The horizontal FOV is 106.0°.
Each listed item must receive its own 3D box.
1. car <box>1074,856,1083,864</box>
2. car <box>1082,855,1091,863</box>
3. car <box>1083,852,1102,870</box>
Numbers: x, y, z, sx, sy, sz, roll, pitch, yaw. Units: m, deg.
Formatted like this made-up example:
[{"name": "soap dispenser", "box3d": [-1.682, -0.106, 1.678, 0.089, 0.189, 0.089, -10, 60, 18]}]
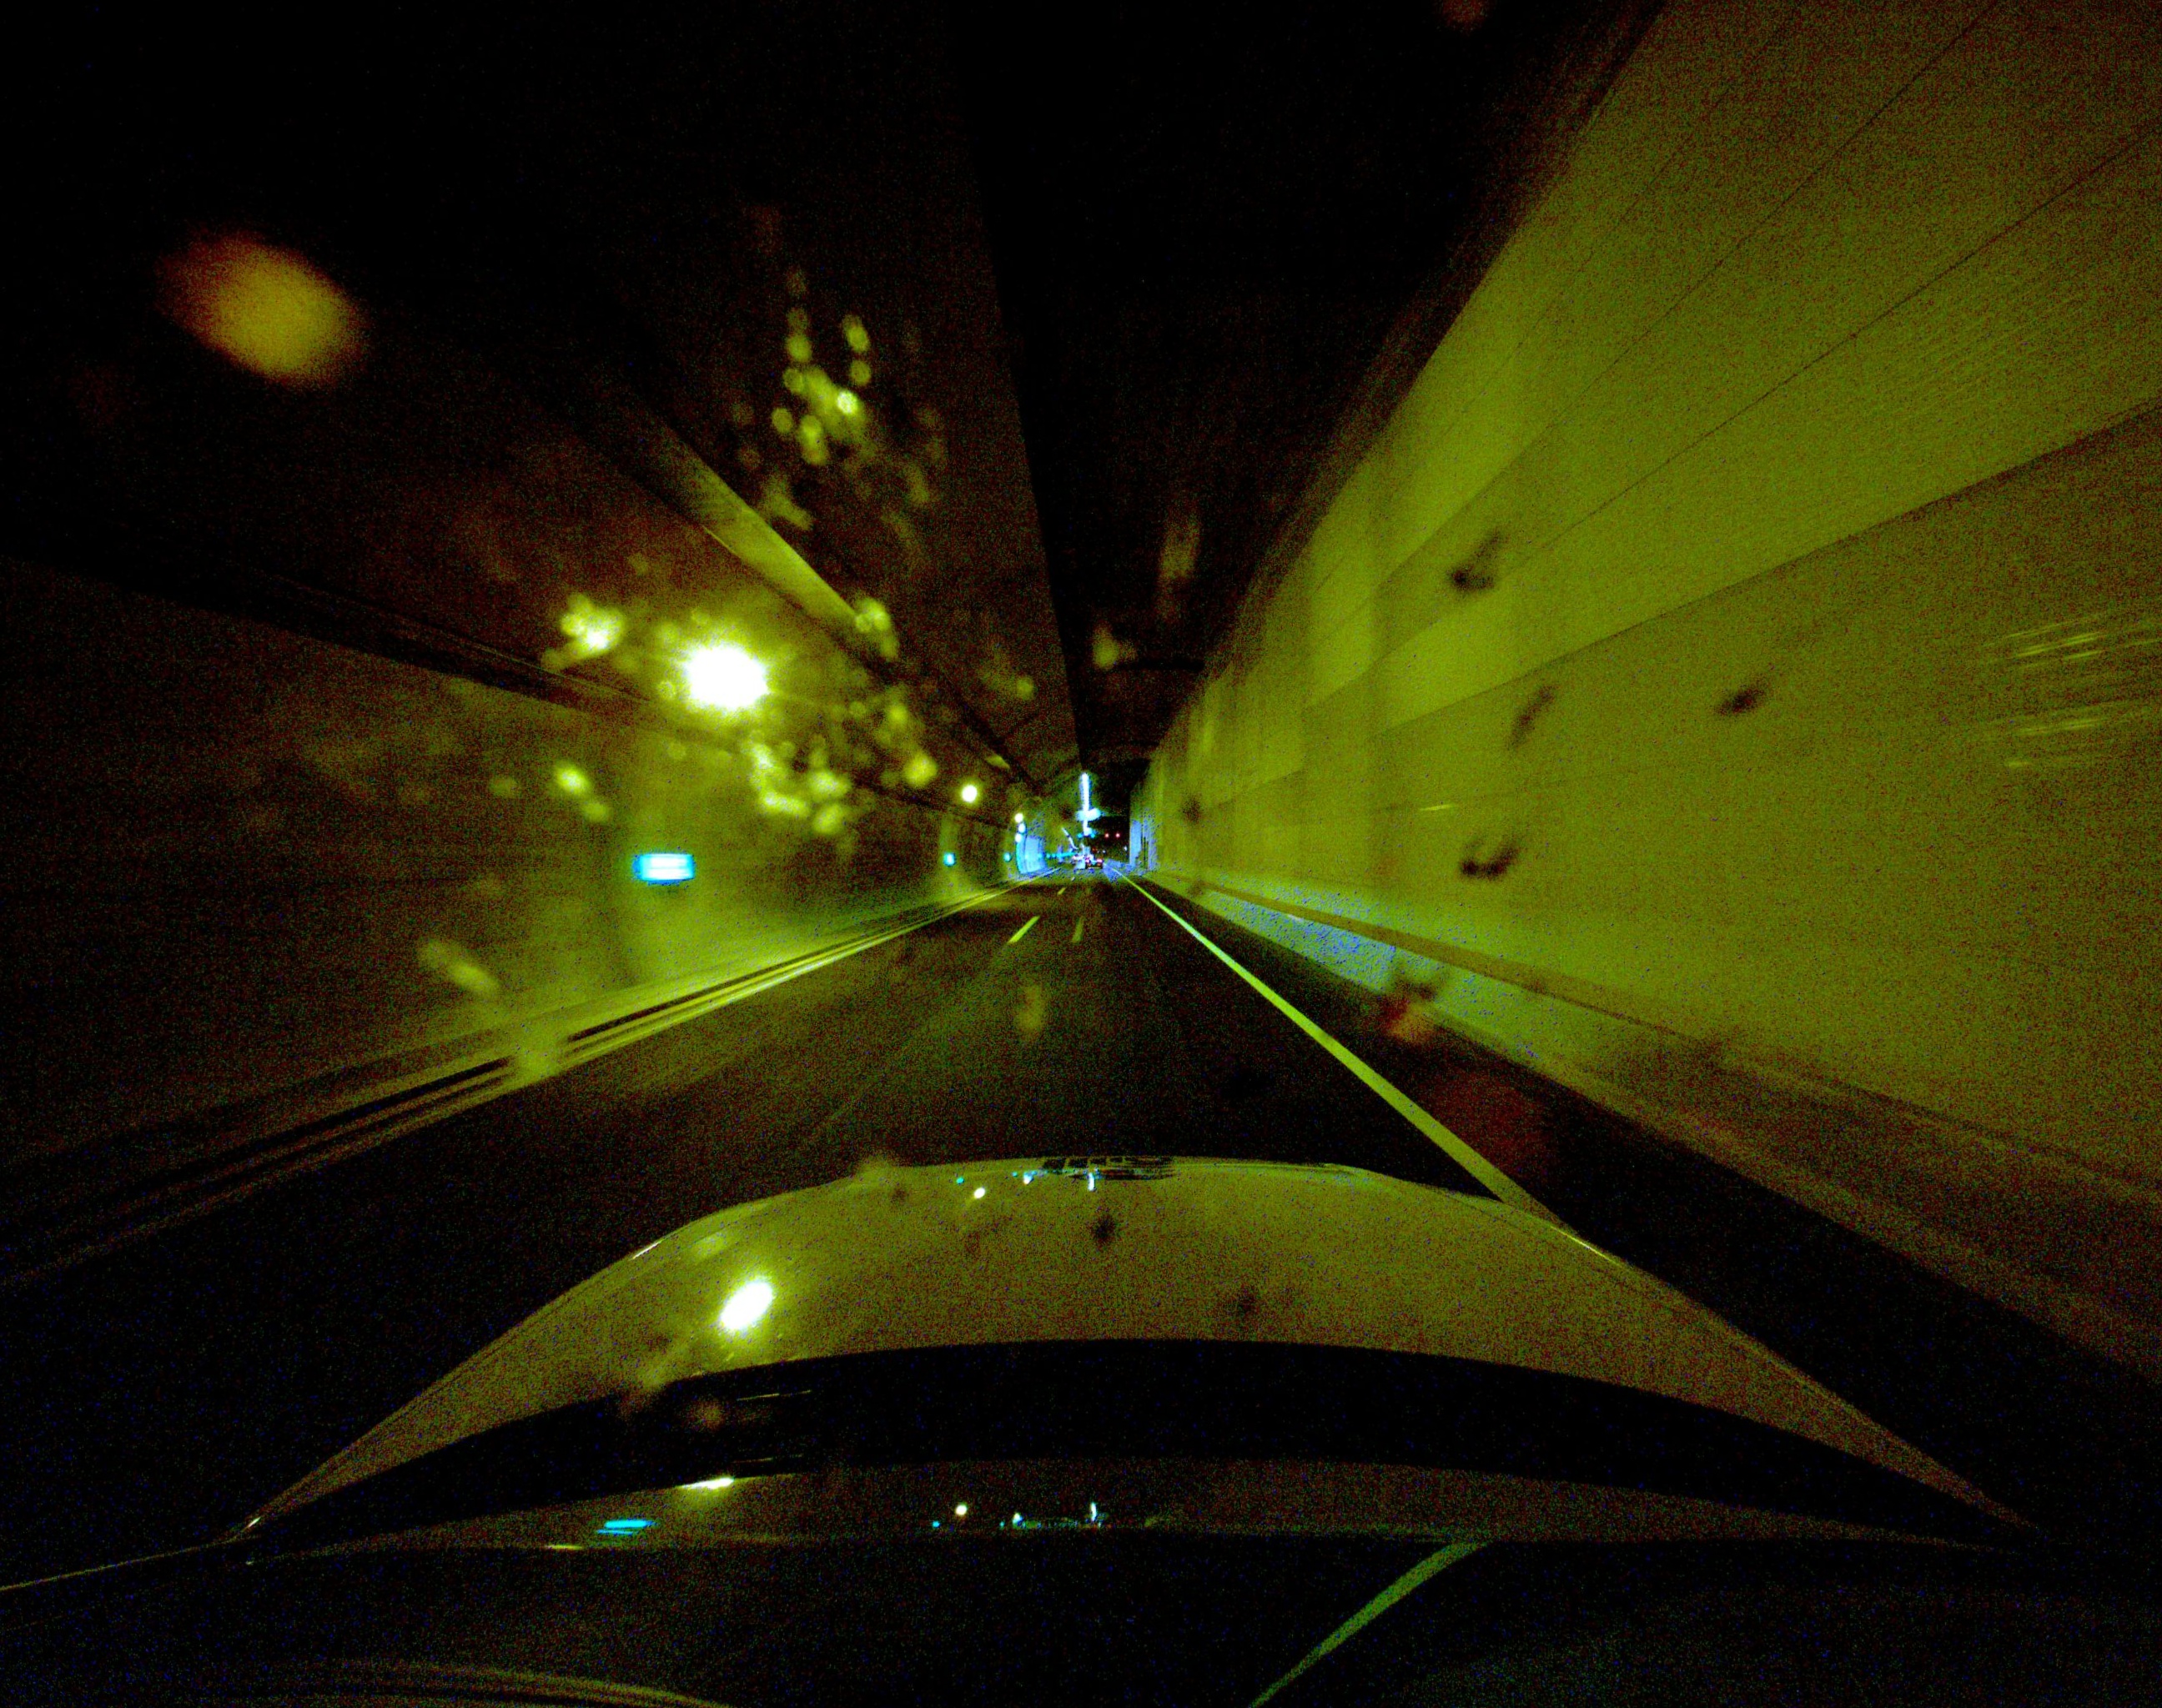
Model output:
[{"name": "car", "box3d": [-0.523, 1.205, 171.396, 1.925, 1.687, 3.998, -2, 0, -1]}, {"name": "car", "box3d": [1.288, 1.152, 190.757, 1.923, 1.687, 4.001, -2, 0, 1]}, {"name": "car", "box3d": [1.216, 0.742, 85.750, 1.939, 1.794, 4.001, -2, 0, 2]}]
